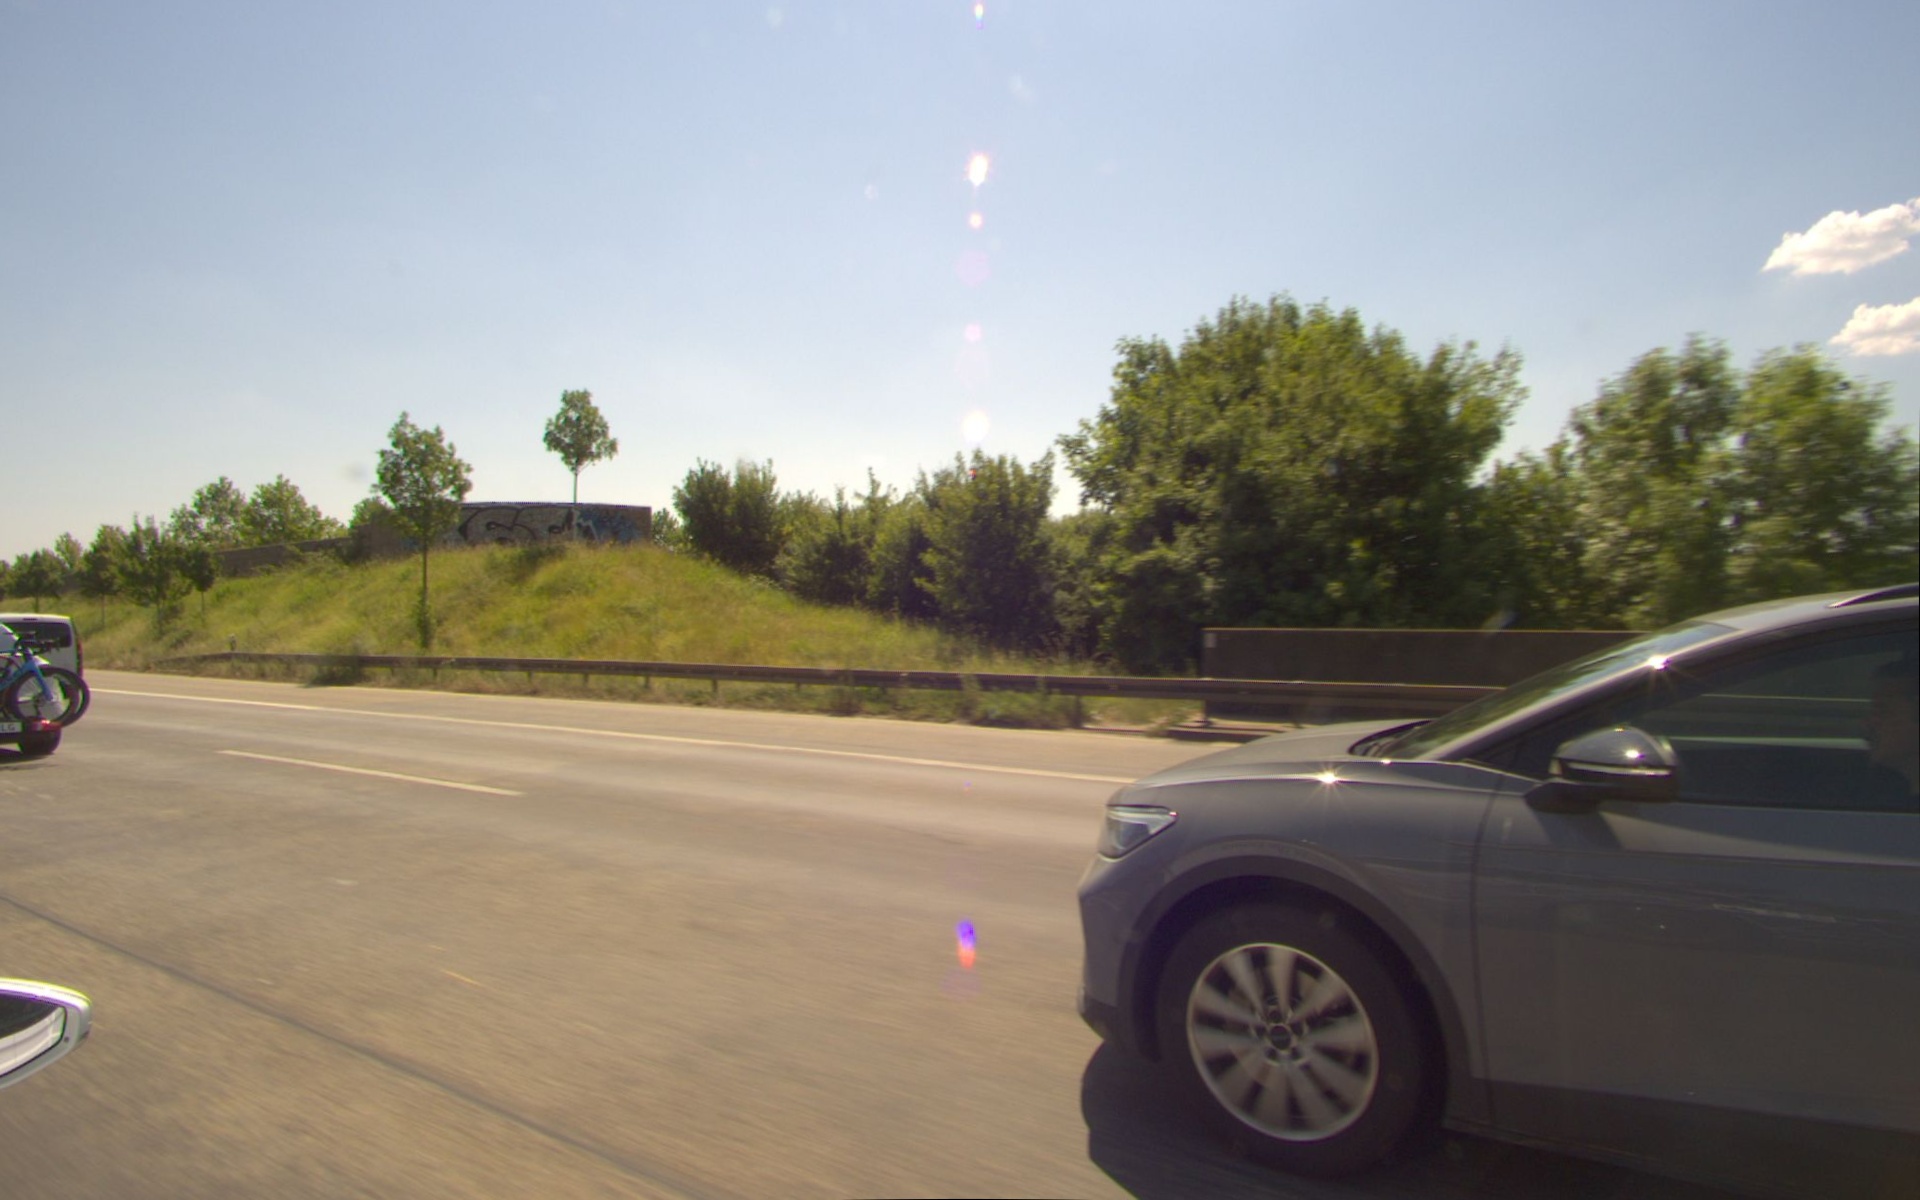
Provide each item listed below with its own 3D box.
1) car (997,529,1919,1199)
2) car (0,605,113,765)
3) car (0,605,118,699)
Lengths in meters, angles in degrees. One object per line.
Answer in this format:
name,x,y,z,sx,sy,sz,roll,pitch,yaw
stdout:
car,2.524,0.717,2.719,4.519,1.657,1.865,0,-1,32
car,-12.306,0.875,11.814,5.519,1.657,1.947,0,-1,32
car,-20.667,1.058,22.061,4.115,1.862,1.947,0,1,30
